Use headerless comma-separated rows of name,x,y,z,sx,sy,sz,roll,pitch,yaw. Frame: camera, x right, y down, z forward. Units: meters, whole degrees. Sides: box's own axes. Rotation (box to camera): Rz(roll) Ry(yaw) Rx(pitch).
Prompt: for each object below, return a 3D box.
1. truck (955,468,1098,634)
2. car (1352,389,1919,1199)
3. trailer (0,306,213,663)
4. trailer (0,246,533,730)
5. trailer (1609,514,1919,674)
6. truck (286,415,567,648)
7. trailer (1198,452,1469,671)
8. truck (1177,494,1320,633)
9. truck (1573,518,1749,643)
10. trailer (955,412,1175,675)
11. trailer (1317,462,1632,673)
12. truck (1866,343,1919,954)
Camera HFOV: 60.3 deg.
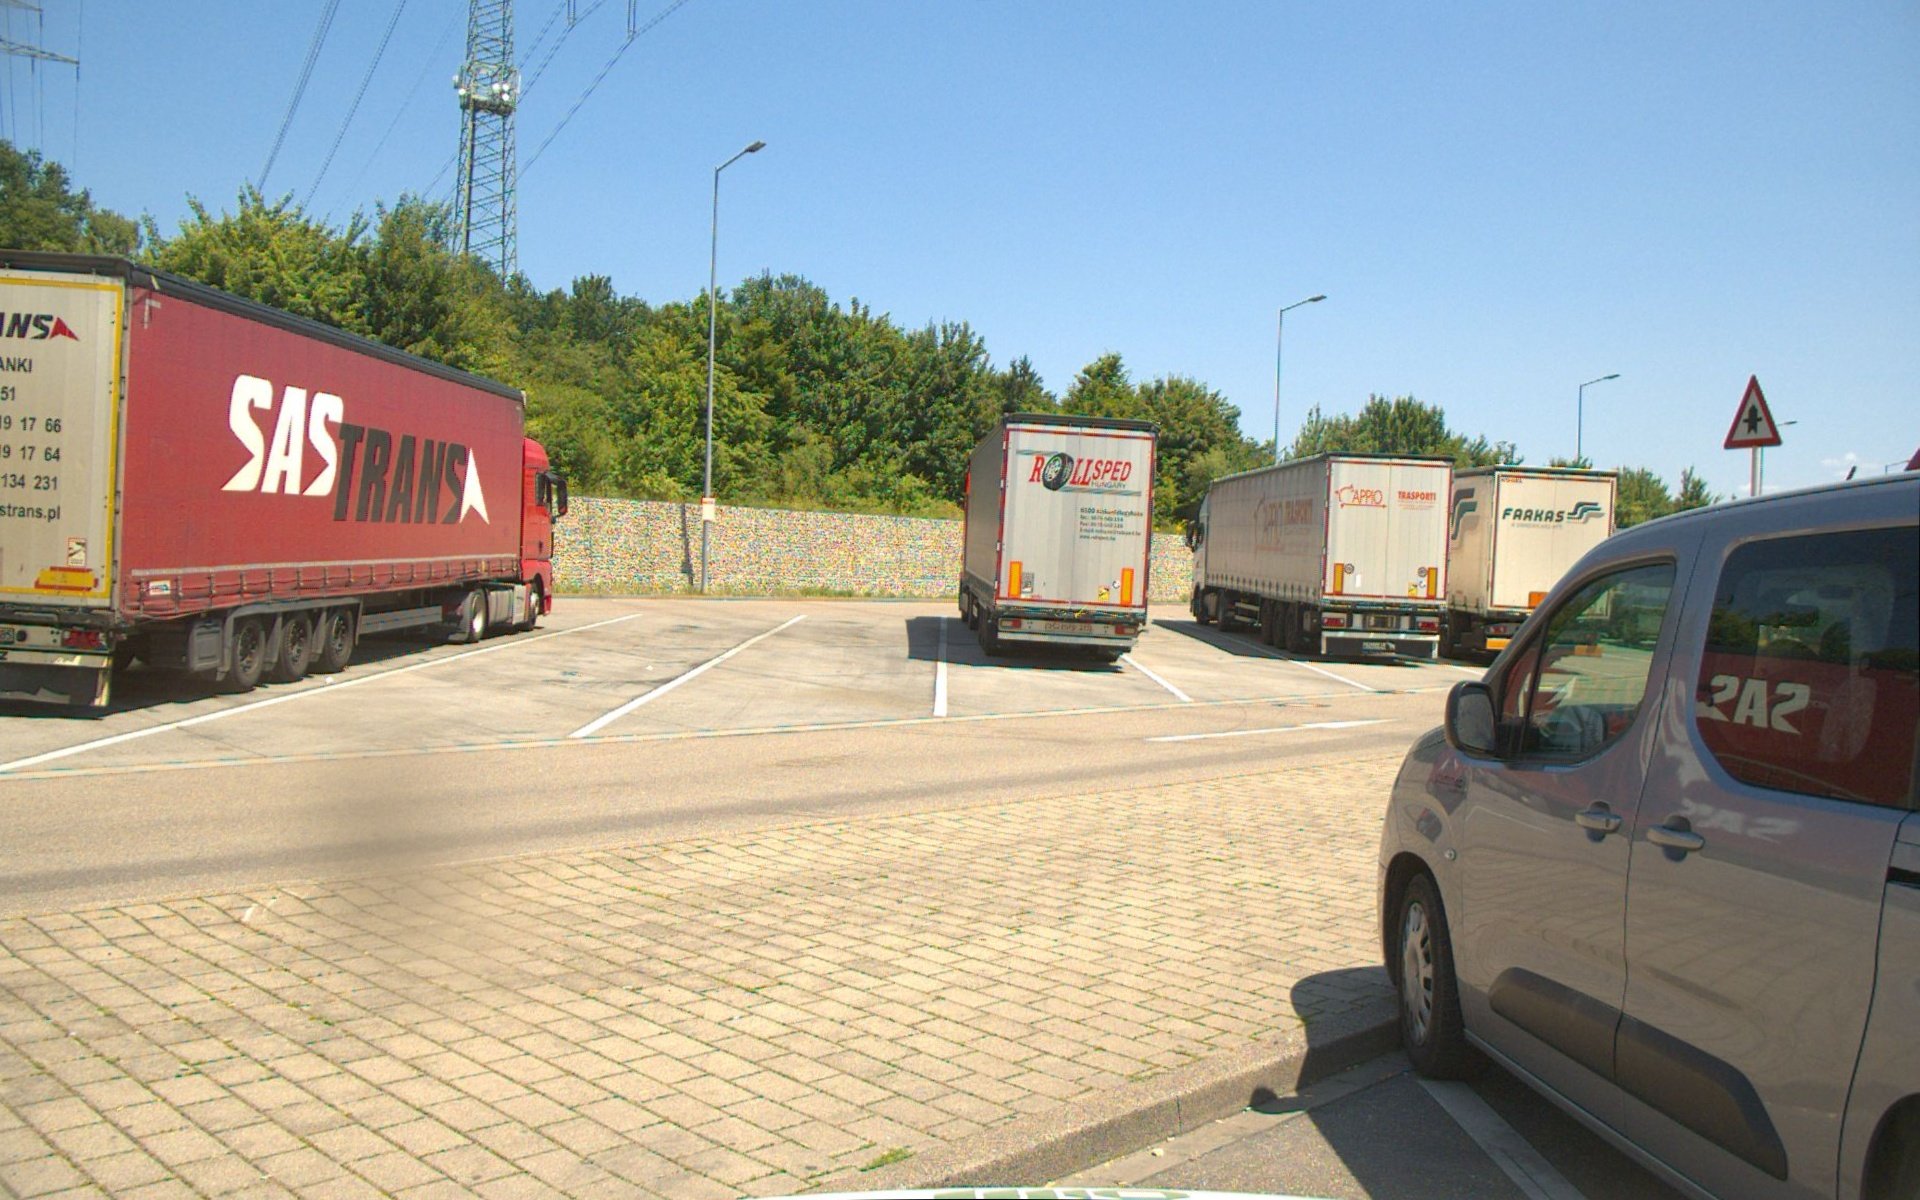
truck,1.503,-1.238,40.532,3.041,3.628,5.900,3,2,-1
car,2.439,0.607,3.855,1.832,1.895,4.174,3,1,-2
trailer,-12.552,-1.336,17.713,2.739,4.155,14.131,3,2,-1
trailer,-8.725,-1.290,21.435,2.735,4.155,14.131,3,2,-1
trailer,21.845,-0.385,44.505,2.754,3.568,14.395,3,2,-1
truck,-8.790,-1.151,28.006,2.793,3.385,5.900,3,2,-1
trailer,8.172,-1.027,38.850,2.754,4.058,14.395,3,2,-1
truck,8.055,-1.090,46.949,2.804,3.582,5.900,3,2,-1
truck,21.767,-0.690,51.735,2.746,3.582,5.900,3,2,-1
trailer,1.659,-1.192,33.641,3.070,4.058,14.393,3,2,-1
trailer,11.735,-0.931,39.954,2.754,4.058,14.395,3,2,-1
truck,5.001,0.205,4.979,1.937,2.668,5.307,1,0,4
